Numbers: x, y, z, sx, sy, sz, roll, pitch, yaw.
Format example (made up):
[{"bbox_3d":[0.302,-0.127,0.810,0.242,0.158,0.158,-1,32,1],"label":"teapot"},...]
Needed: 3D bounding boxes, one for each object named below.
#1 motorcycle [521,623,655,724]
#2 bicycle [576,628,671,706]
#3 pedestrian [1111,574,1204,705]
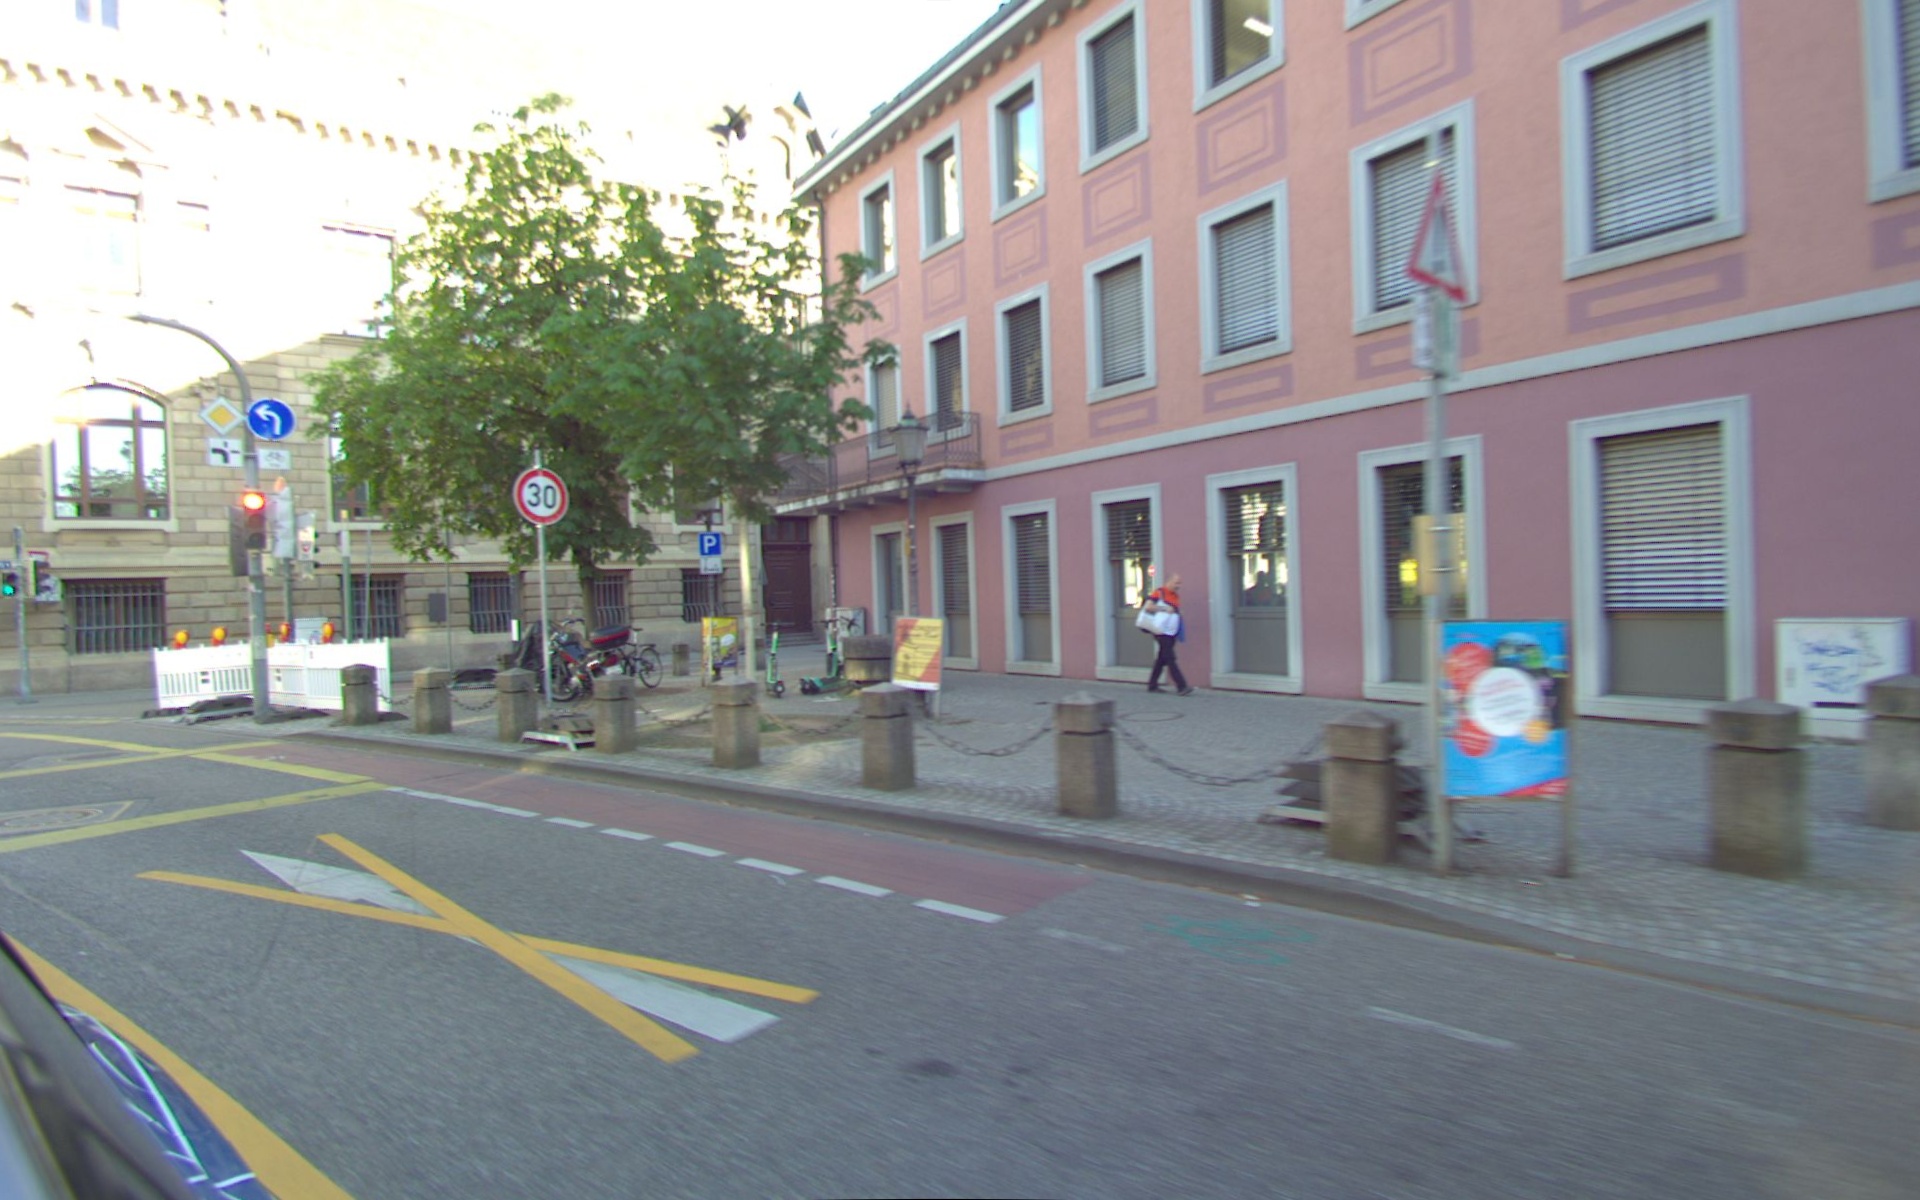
[{"bbox_3d":[-5.400,1.027,14.604,2.337,1.327,0.803,-3,-1,43],"label":"motorcycle"},{"bbox_3d":[-5.609,1.081,16.997,0.676,1.215,1.999,0,-1,9],"label":"bicycle"},{"bbox_3d":[2.695,0.521,13.821,0.781,1.701,0.870,-3,1,-38],"label":"pedestrian"}]
